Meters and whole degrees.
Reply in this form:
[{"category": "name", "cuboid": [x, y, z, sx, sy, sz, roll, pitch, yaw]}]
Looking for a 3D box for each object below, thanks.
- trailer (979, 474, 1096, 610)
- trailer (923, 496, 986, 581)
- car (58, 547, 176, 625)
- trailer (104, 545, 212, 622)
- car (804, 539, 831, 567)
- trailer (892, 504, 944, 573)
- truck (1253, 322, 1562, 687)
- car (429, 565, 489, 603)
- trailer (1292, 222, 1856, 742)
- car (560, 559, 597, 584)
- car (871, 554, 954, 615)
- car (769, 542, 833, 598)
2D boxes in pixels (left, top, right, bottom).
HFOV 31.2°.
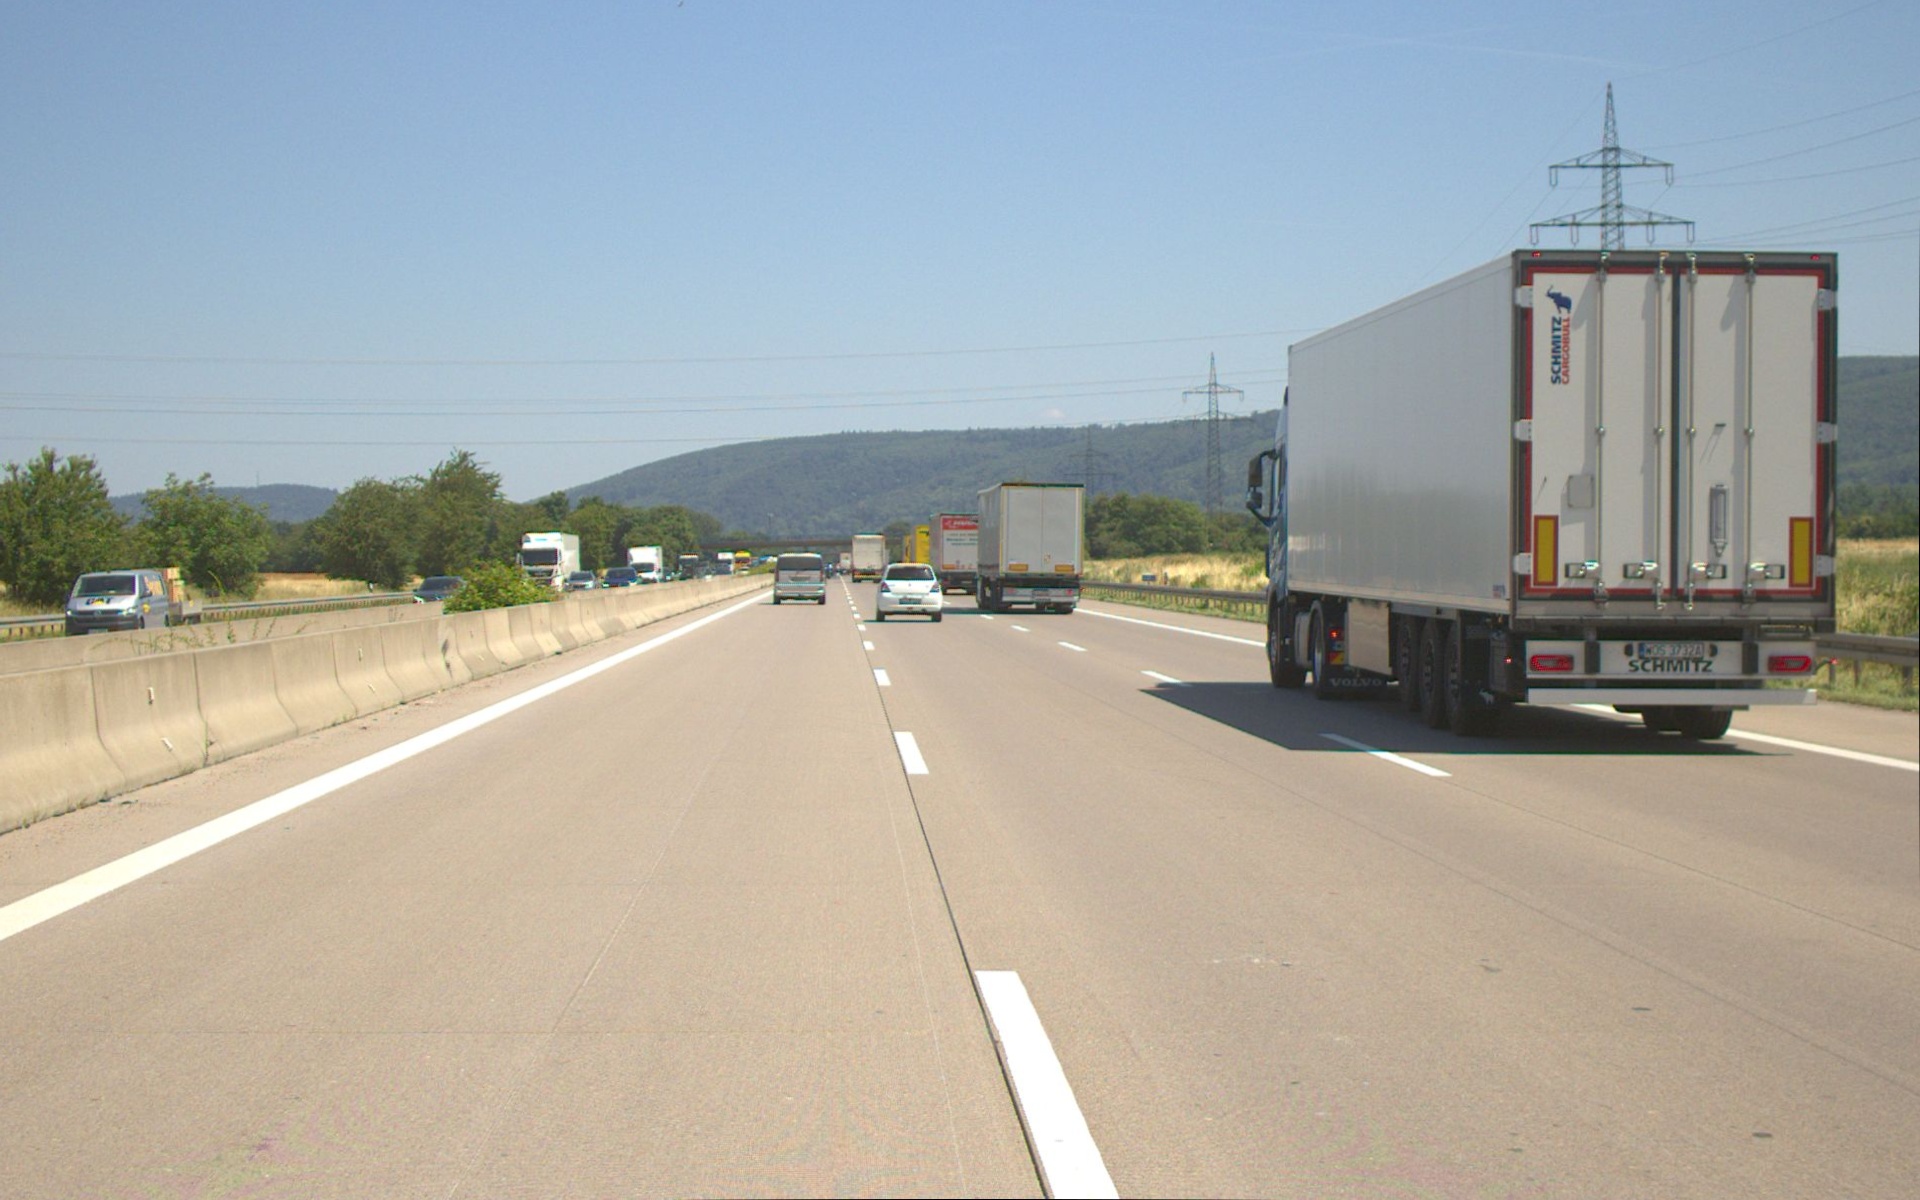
[{"category": "trailer", "cuboid": [2.373, -1.833, 110.814, 3.018, 4.047, 14.208, 1, 1, -2]}, {"category": "trailer", "cuboid": [-0.329, -3.046, 173.540, 2.873, 4.086, 13.513, 1, 1, -1]}, {"category": "car", "cuboid": [-21.989, -0.389, 89.907, 1.865, 1.937, 5.566, 1, 1, -2]}, {"category": "trailer", "cuboid": [-22.158, -0.477, 95.183, 1.809, 2.035, 5.614, 1, 1, -2]}, {"category": "car", "cuboid": [-9.978, -3.269, 240.419, 1.783, 1.875, 4.000, 1, 1, -2]}, {"category": "trailer", "cuboid": [-2.909, -4.154, 235.260, 3.216, 4.548, 13.458, 1, 1, -2]}, {"category": "truck", "cuboid": [5.227, -1.093, 41.101, 2.750, 4.030, 5.466, 1, 1, -2]}, {"category": "car", "cuboid": [-18.607, -0.605, 127.896, 1.712, 1.355, 5.044, 1, 1, -3]}, {"category": "trailer", "cuboid": [5.442, -0.995, 33.415, 2.708, 4.030, 12.903, 1, 1, -2]}, {"category": "car", "cuboid": [-21.532, -1.622, 194.012, 1.735, 1.368, 4.907, 1, 1, -2]}, {"category": "car", "cuboid": [-1.237, -0.427, 90.407, 2.107, 1.531, 4.122, 1, 1, -1]}, {"category": "car", "cuboid": [-5.866, -1.122, 127.299, 2.254, 2.007, 4.298, 1, 1, -1]}]
